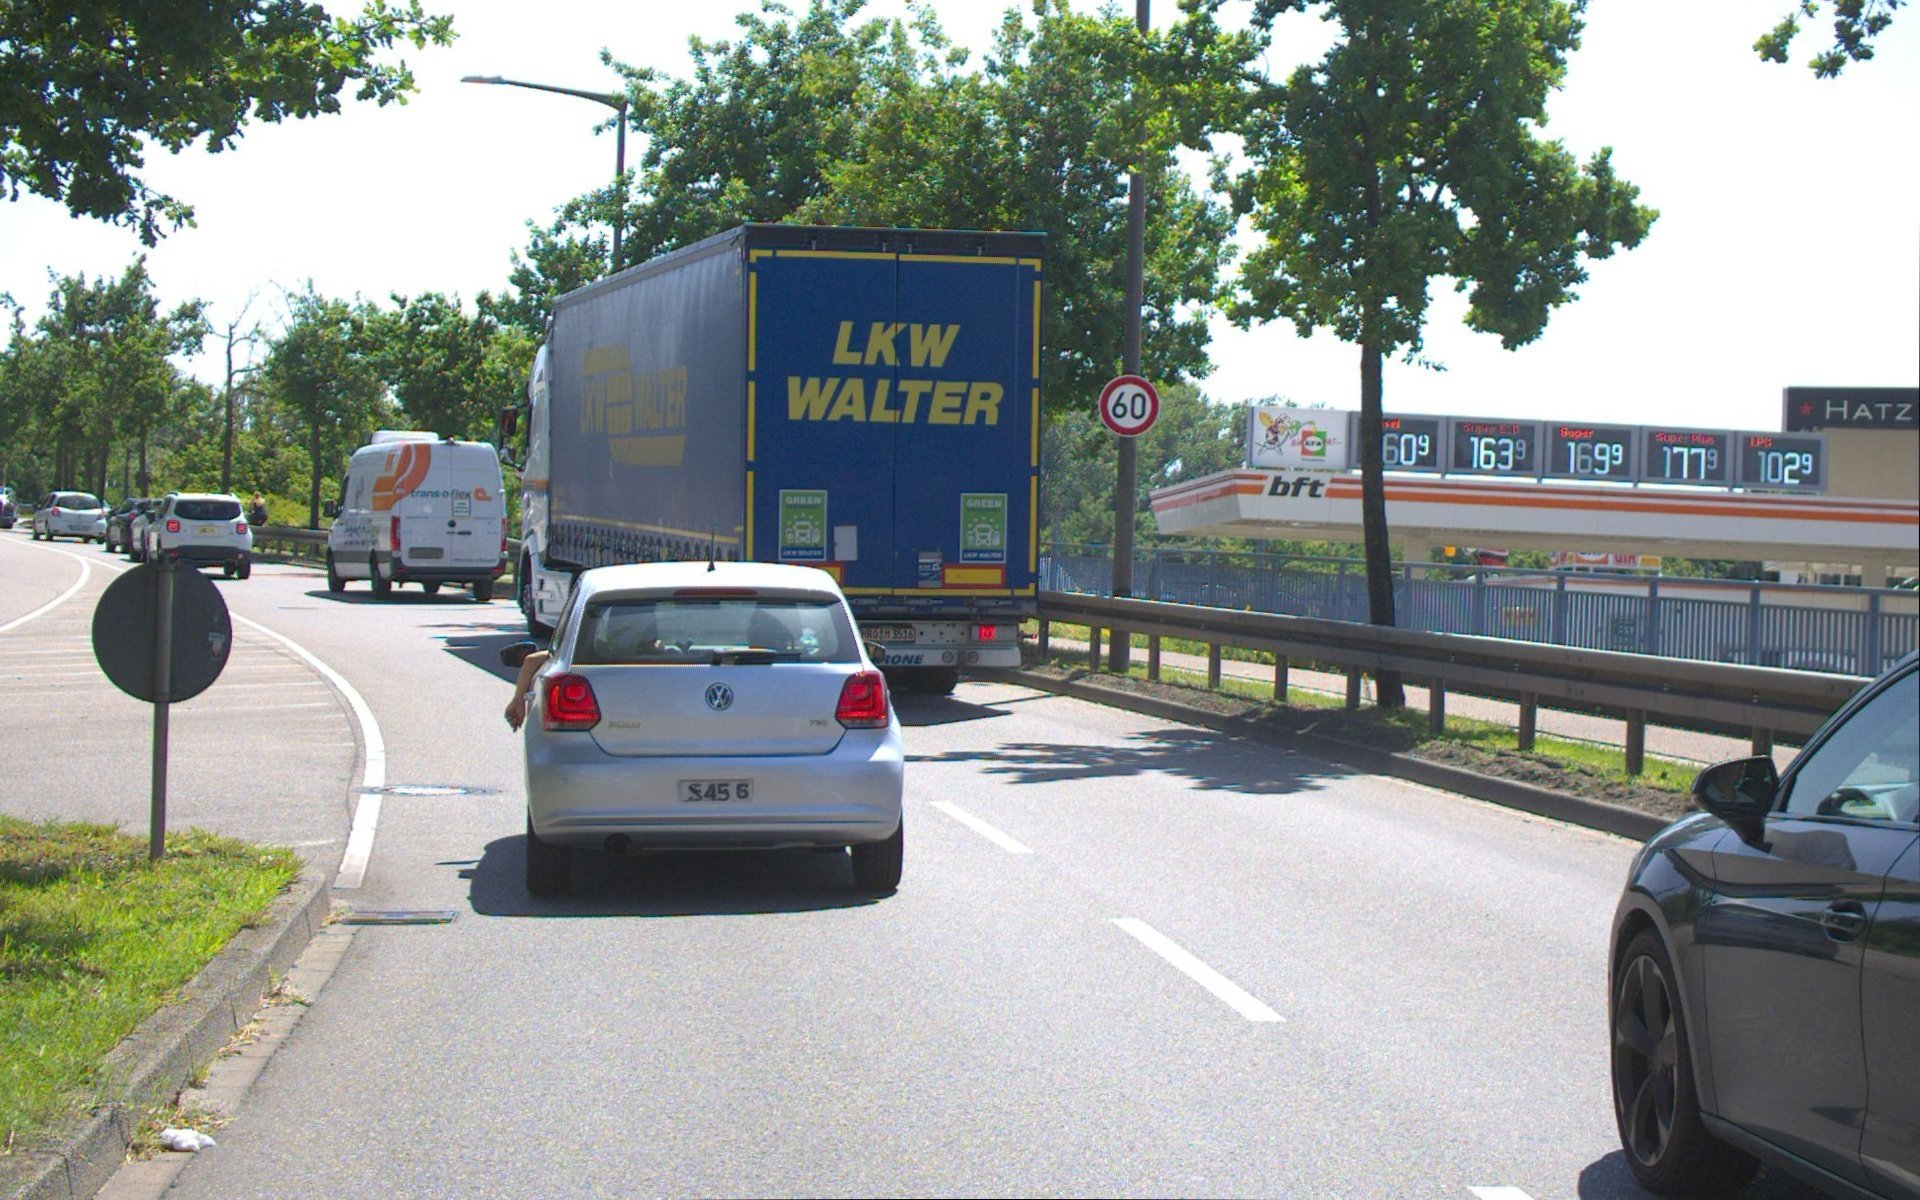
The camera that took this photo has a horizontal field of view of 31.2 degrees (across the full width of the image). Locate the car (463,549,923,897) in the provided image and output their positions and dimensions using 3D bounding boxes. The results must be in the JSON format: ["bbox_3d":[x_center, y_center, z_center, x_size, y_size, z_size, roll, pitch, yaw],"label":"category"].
[{"bbox_3d":[-1.360,0.526,16.179,1.645,1.434,3.538,1,0,-12],"label":"car"}]

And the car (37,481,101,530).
[{"bbox_3d":[-26.247,-2.782,101.227,1.607,1.355,3.664,1,1,-18],"label":"car"}]

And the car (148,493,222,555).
[{"bbox_3d":[-17.902,-1.744,79.328,1.494,1.355,3.664,1,0,-15],"label":"car"}]

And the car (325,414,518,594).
[{"bbox_3d":[-9.360,-1.665,59.276,2.175,2.890,6.360,1,1,-19],"label":"car"}]

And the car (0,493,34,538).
[{"bbox_3d":[-33.924,-3.005,122.467,1.664,1.460,3.582,1,0,-14],"label":"car"}]

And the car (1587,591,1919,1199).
[{"bbox_3d":[2.526,0.729,6.511,1.604,1.451,4.236,1,0,-4],"label":"car"}]

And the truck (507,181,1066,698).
[{"bbox_3d":[-2.465,-1.404,36.448,2.832,4.184,16.479,1,0,-14],"label":"truck"}]

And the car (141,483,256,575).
[{"bbox_3d":[-15.326,-1.403,69.039,1.903,1.712,4.225,1,0,-17],"label":"car"}]
